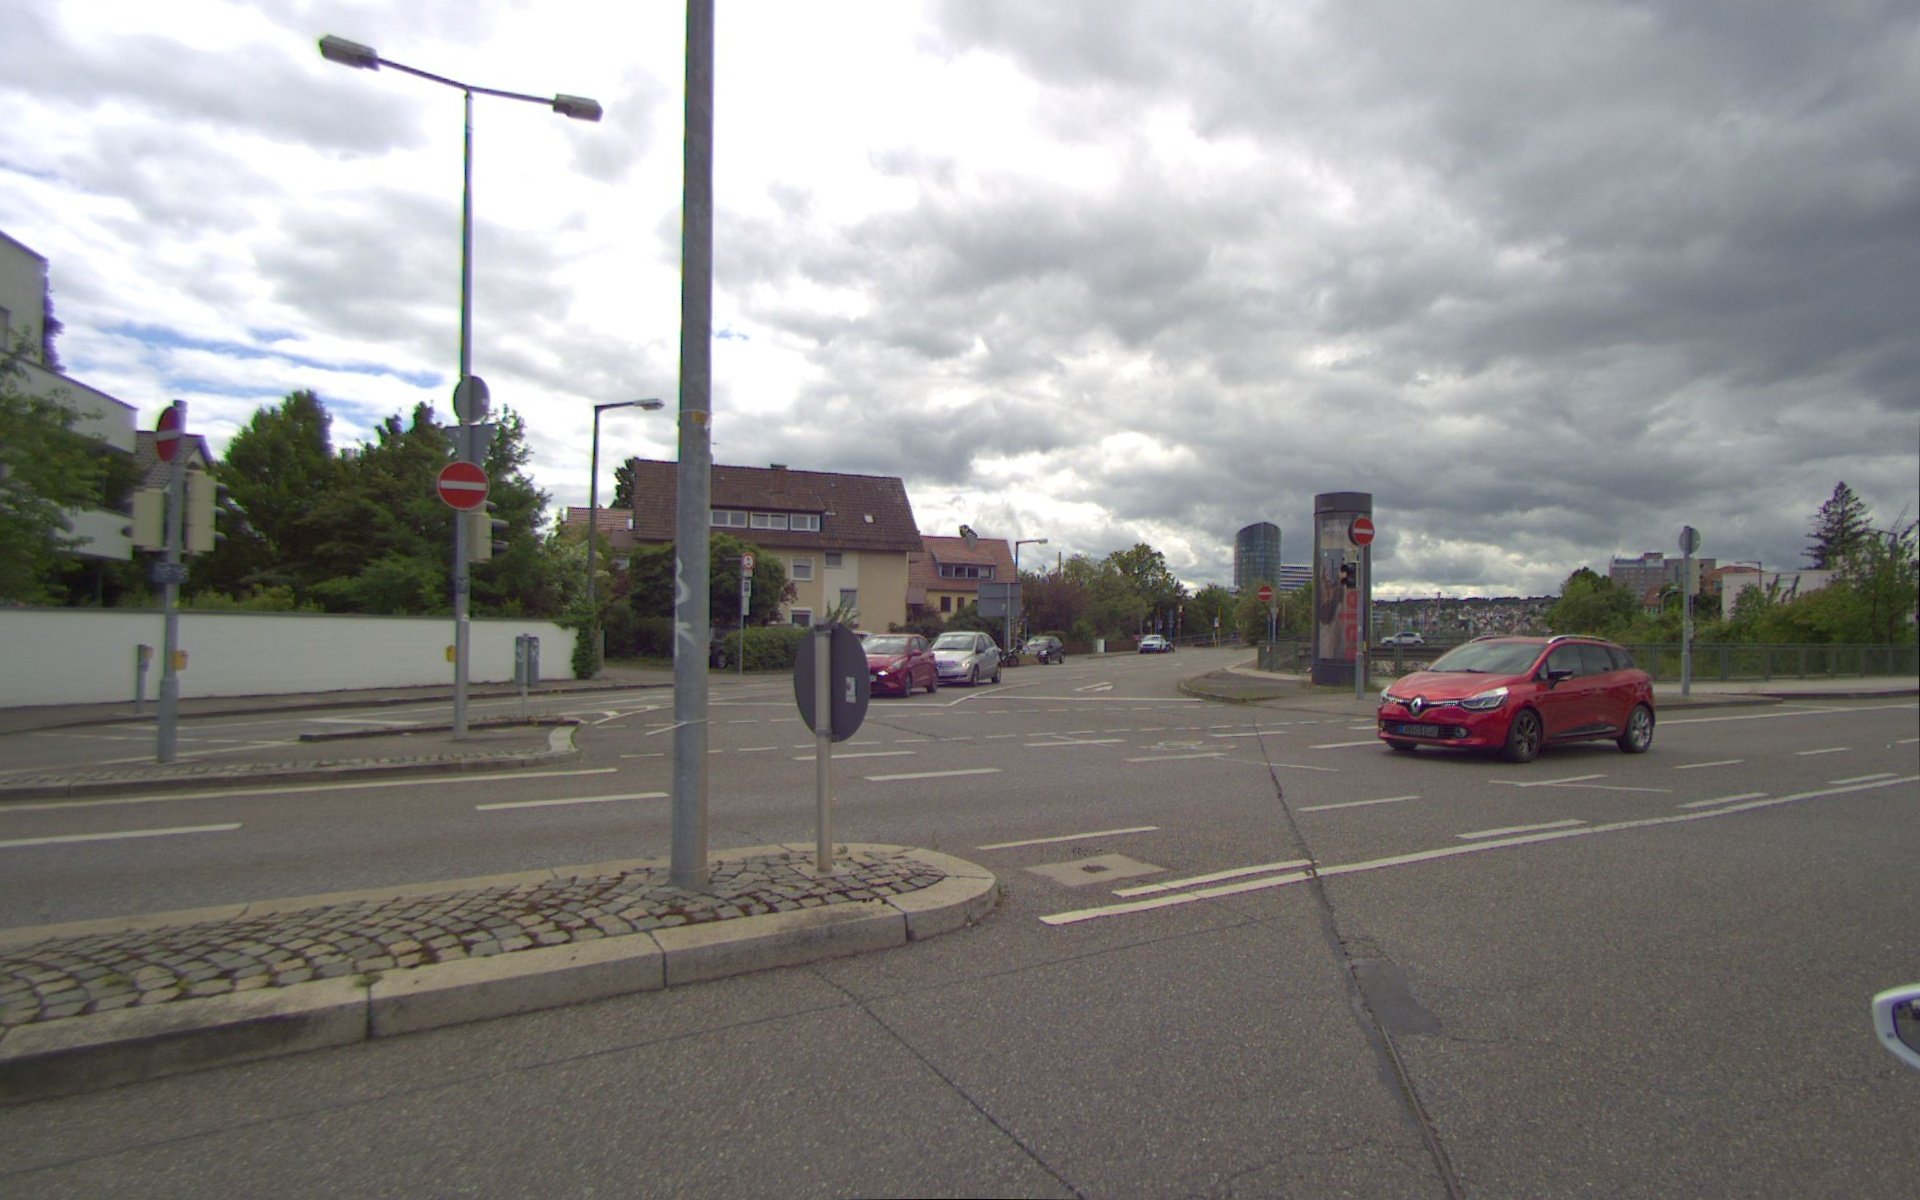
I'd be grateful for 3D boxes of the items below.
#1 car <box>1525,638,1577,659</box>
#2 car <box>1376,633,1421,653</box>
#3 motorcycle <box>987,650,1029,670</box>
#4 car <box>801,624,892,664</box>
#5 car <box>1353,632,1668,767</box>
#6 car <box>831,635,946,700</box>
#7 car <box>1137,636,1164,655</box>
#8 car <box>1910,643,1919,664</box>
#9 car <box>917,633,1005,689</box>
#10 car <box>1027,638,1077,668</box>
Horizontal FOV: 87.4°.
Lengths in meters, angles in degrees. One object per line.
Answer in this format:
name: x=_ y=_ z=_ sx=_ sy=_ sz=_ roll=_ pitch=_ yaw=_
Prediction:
car: x=55.953 y=4.551 z=95.083 sx=3.940 sy=1.684 sz=1.790 roll=3 pitch=2 yaw=40
car: x=43.770 y=4.247 z=100.444 sx=3.921 sy=1.685 sz=1.736 roll=3 pitch=2 yaw=19
motorcycle: x=2.495 y=3.107 z=51.903 sx=2.084 sy=1.012 sz=0.702 roll=1 pitch=-6 yaw=-11
car: x=-5.418 y=2.074 z=48.000 sx=3.921 sy=1.602 sz=1.786 roll=2 pitch=1 yaw=19
car: x=7.021 y=1.172 z=12.728 sx=4.020 sy=1.467 sz=1.712 roll=2 pitch=-3 yaw=-31
car: x=-1.651 y=1.626 z=24.544 sx=1.739 sy=1.465 sz=3.706 roll=-1 pitch=-3 yaw=14
car: x=17.201 y=4.108 z=90.469 sx=1.862 sy=1.628 sz=4.378 roll=0 pitch=-2 yaw=18
car: x=74.607 y=4.047 z=76.019 sx=3.923 sy=1.574 sz=1.801 roll=1 pitch=-2 yaw=-4
car: x=0.115 y=1.845 z=30.327 sx=1.614 sy=1.555 sz=4.133 roll=-1 pitch=-4 yaw=16
car: x=5.382 y=3.015 z=58.040 sx=1.960 sy=1.628 sz=4.378 roll=0 pitch=-2 yaw=18
